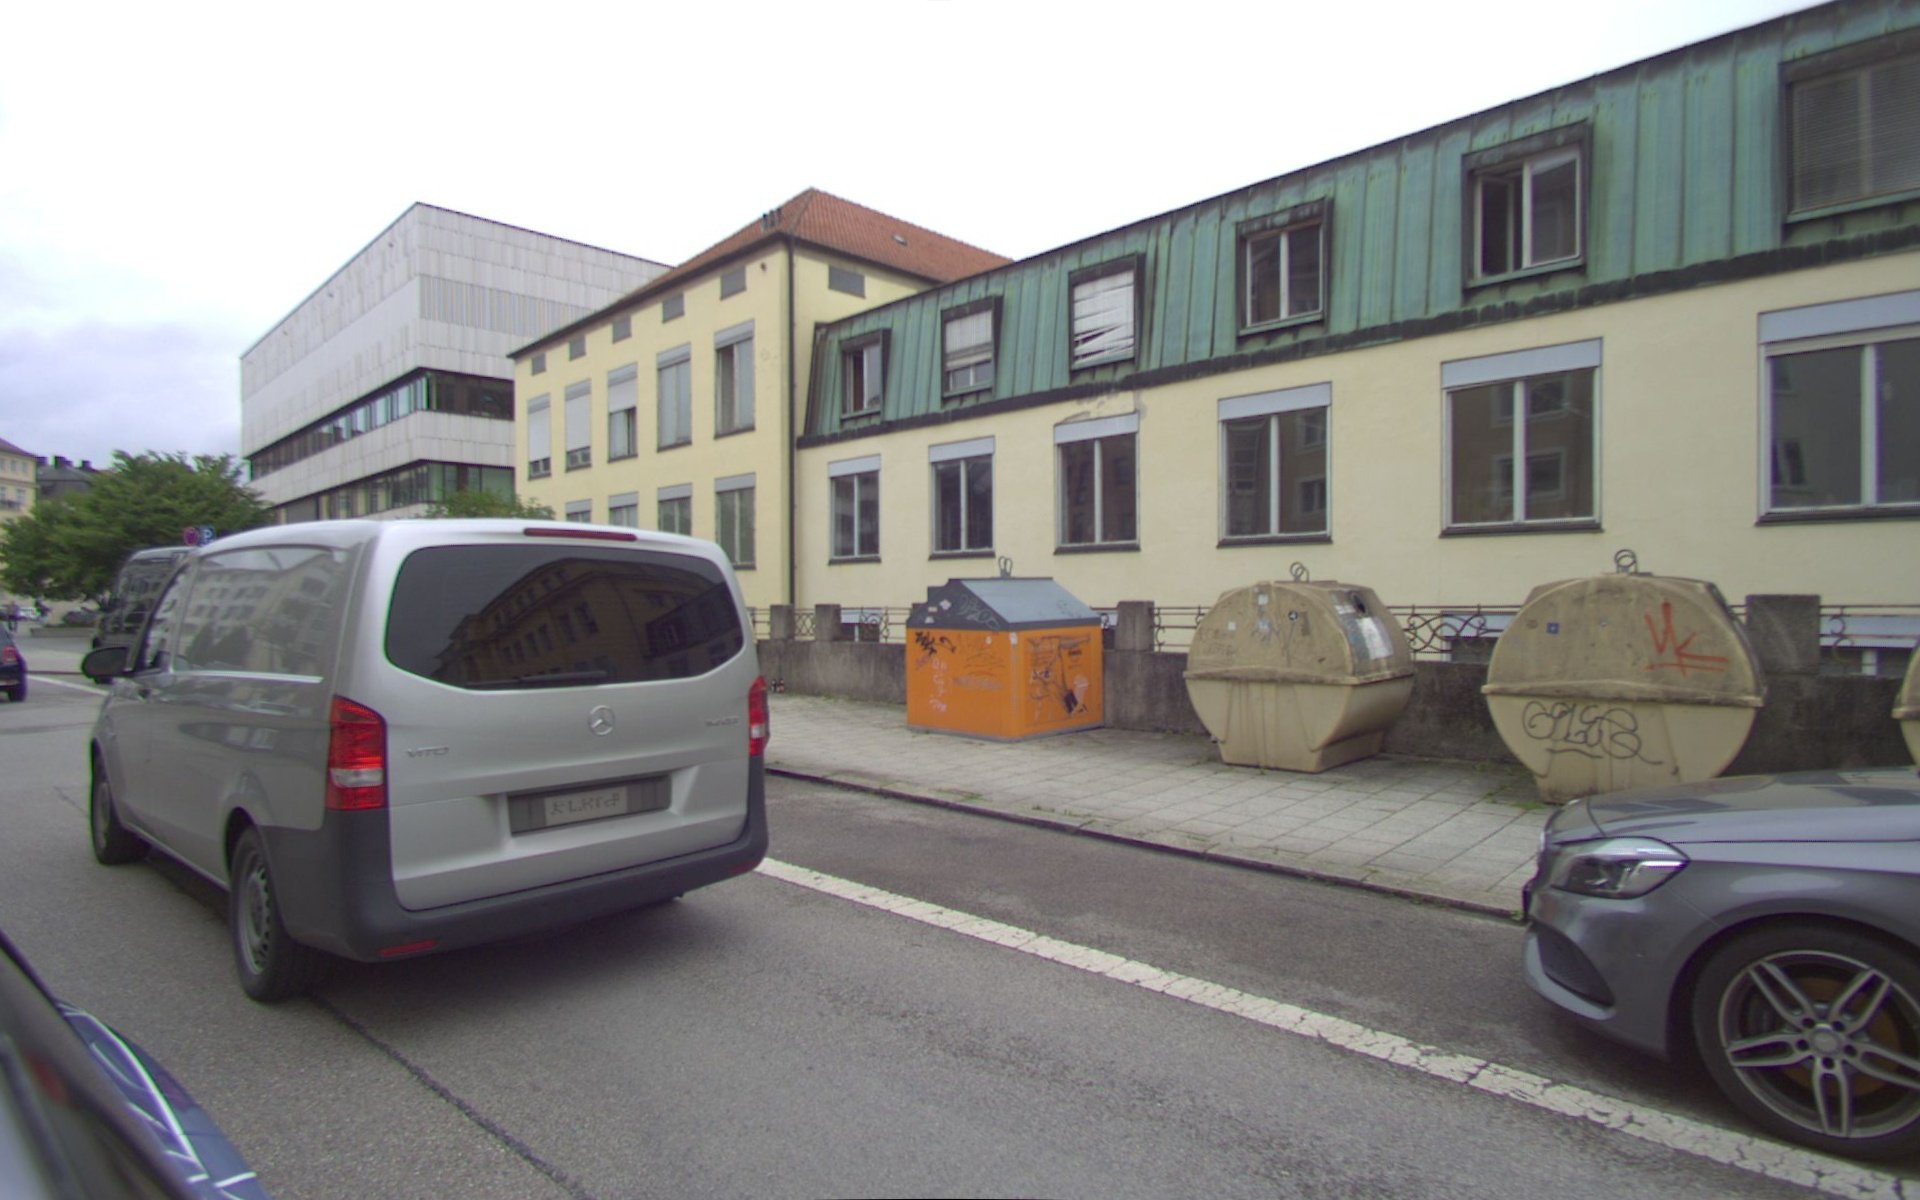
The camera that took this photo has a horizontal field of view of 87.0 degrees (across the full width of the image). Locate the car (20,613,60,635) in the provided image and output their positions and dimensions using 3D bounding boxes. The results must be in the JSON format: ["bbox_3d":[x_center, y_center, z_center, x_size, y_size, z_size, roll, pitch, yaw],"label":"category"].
[{"bbox_3d":[-91.335,2.363,100.495,1.861,2.029,4.013,0,0,-26],"label":"car"}]

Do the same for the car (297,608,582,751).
[{"bbox_3d":[-7.042,1.008,13.503,4.350,1.599,1.893,-2,-5,42],"label":"car"}]

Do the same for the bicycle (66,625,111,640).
[{"bbox_3d":[-57.704,2.141,67.031,0.795,0.999,2.125,-1,-2,27],"label":"bicycle"}]

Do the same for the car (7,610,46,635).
[{"bbox_3d":[-94.955,2.268,102.954,1.861,2.374,4.013,0,0,-26],"label":"car"}]

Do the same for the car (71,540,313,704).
[{"bbox_3d":[-15.654,0.448,20.480,6.186,2.875,2.192,-1,-3,37],"label":"car"}]

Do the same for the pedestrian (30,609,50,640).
[{"bbox_3d":[-53.539,1.427,58.897,0.516,1.799,0.778,-1,0,37],"label":"pedestrian"}]

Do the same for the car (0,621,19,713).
[{"bbox_3d":[-17.322,1.107,17.039,3.703,1.486,1.645,-1,0,39],"label":"car"}]

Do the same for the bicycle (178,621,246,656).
[{"bbox_3d":[-27.357,1.393,37.037,0.744,1.202,1.891,-1,0,39],"label":"bicycle"}]

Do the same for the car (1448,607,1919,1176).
[{"bbox_3d":[3.972,0.781,2.503,4.615,1.429,1.992,0,-3,43],"label":"car"}]

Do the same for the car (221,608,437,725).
[{"bbox_3d":[-10.387,1.025,16.524,4.349,1.649,1.860,-1,-4,43],"label":"car"}]

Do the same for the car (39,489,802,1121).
[{"bbox_3d":[-3.309,0.625,5.465,5.319,1.862,1.895,-1,0,41],"label":"car"}]

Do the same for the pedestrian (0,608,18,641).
[{"bbox_3d":[-53.158,1.375,56.482,0.516,1.799,0.778,-1,0,37],"label":"pedestrian"}]
